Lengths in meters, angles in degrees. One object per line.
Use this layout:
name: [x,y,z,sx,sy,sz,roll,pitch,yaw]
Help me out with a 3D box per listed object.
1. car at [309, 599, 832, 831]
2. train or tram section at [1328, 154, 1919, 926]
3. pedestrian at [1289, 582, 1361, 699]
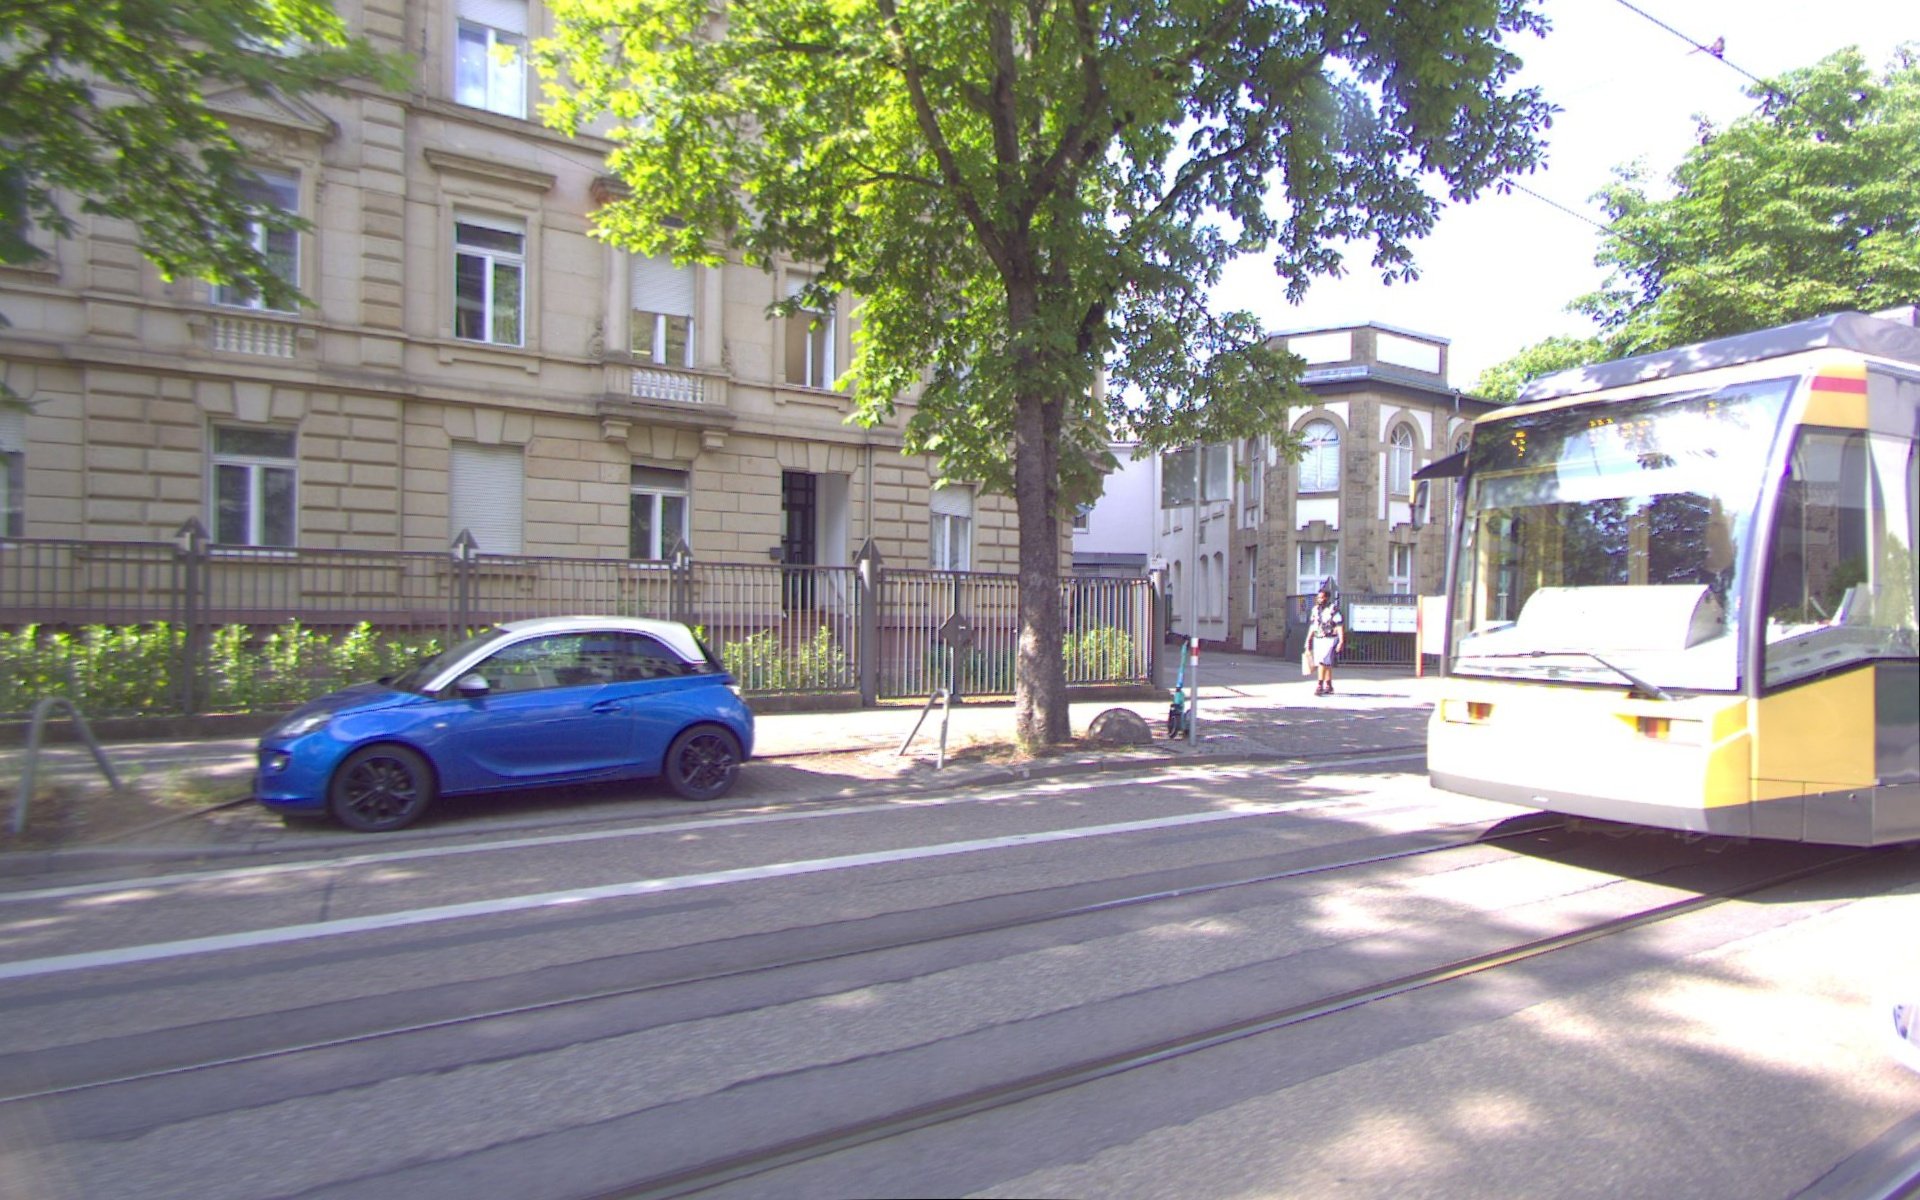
car: [-3.157,0.826,8.425,3.766,1.504,1.645,2,1,-31]
train or tram section: [8.392,-0.089,8.759,12.171,3.481,2.640,2,-2,-31]
pedestrian: [6.618,0.712,18.222,0.816,2.041,0.820,1,1,-31]
